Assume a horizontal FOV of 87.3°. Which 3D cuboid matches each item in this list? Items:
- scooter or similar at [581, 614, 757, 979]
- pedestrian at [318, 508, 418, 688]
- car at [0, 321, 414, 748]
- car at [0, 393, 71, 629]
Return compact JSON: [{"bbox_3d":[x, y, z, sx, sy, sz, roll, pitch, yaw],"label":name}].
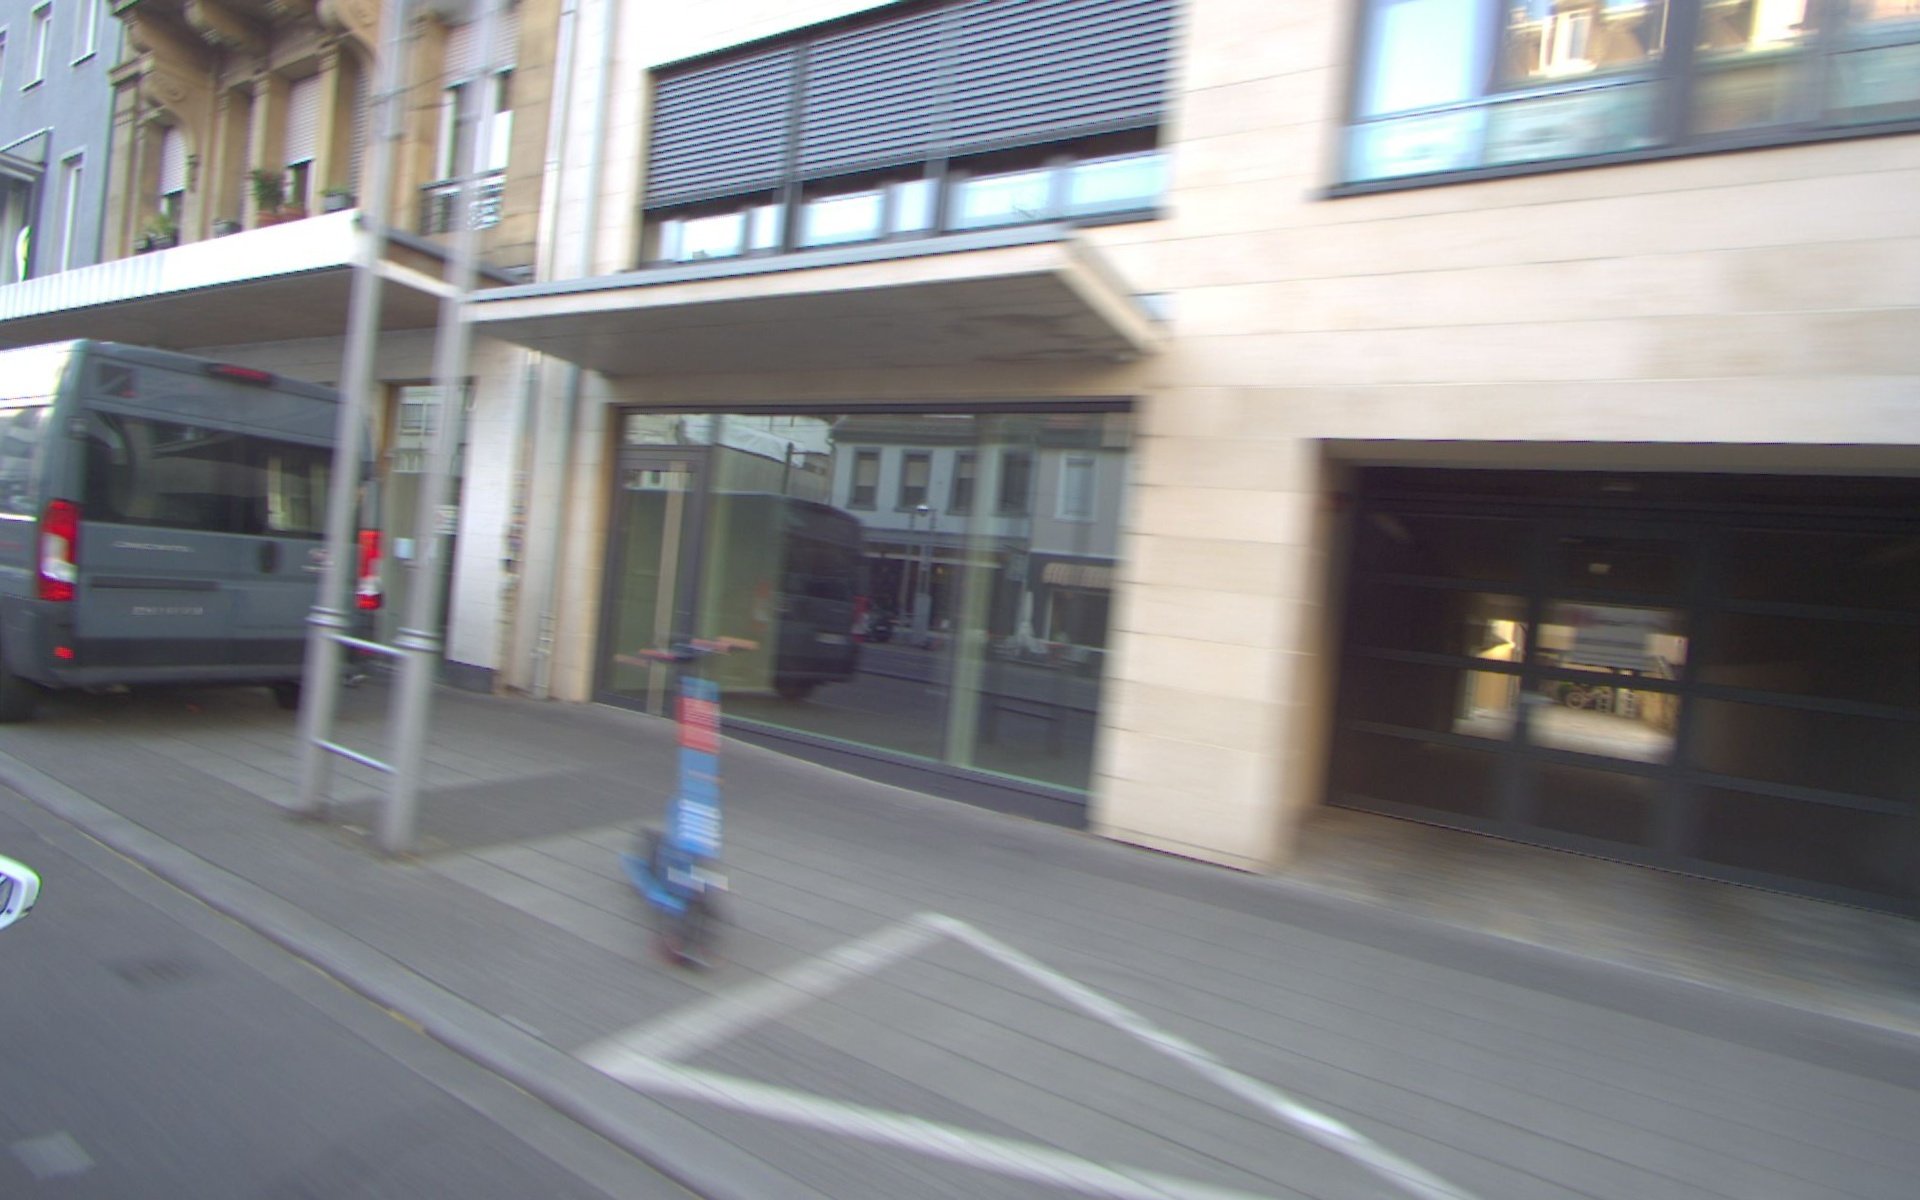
[{"bbox_3d":[-1.261,0.728,4.217,0.493,1.235,1.259,6,1,-20],"label":"scooter or similar"},{"bbox_3d":[-5.726,-0.017,9.740,0.524,1.666,0.550,7,2,32],"label":"pedestrian"},{"bbox_3d":[-7.285,-0.606,8.304,5.932,2.487,2.093,7,2,32],"label":"car"},{"bbox_3d":[-12.667,-1.202,11.592,5.318,2.488,2.034,7,2,31],"label":"car"}]
